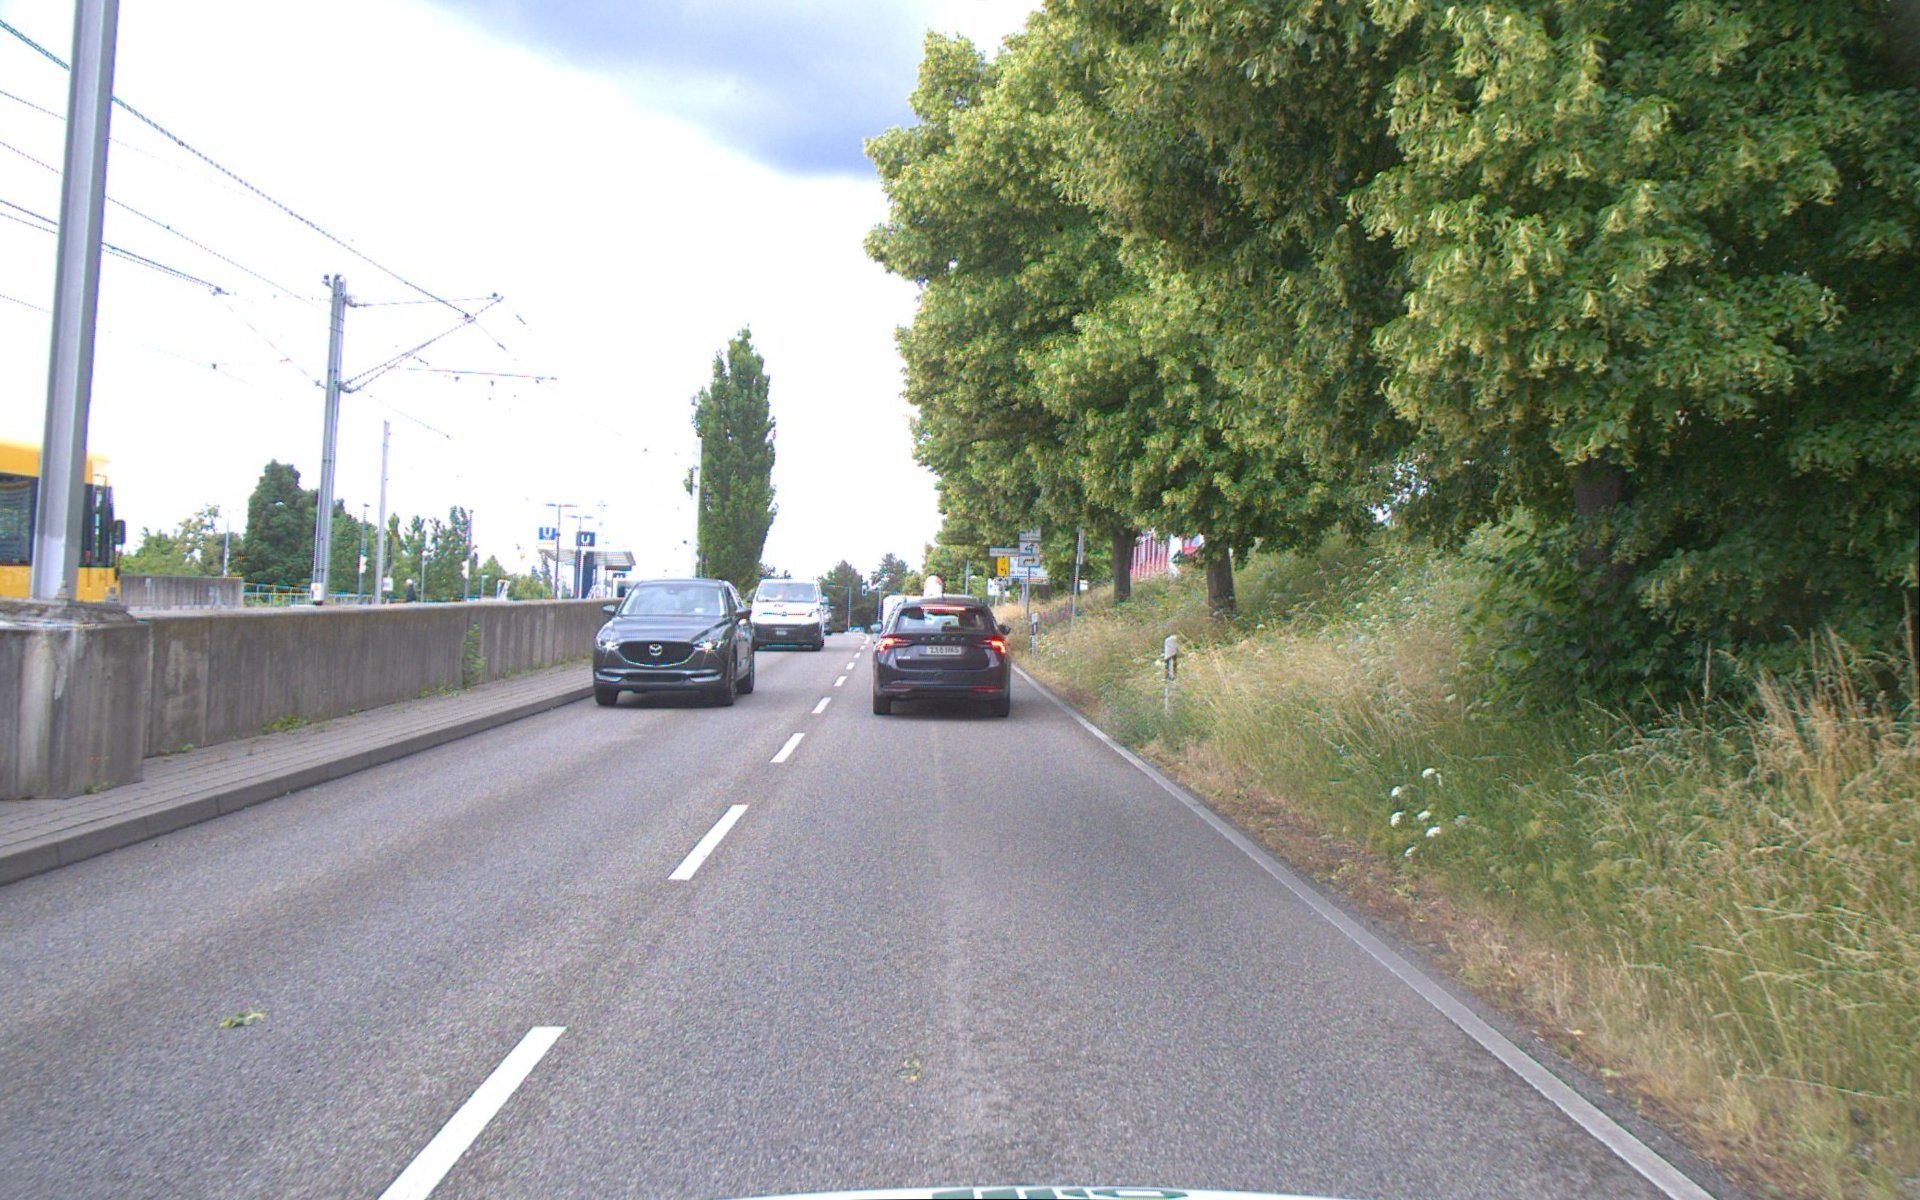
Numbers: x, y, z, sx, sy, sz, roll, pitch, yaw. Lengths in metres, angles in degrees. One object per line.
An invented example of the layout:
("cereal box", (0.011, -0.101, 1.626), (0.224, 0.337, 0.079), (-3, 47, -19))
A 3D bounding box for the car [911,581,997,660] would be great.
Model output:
("car", (-0.169, 0.450, 39.618), (1.953, 1.783, 3.999), (0, 0, -1))

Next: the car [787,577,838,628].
("car", (-6.144, 0.087, 69.159), (1.954, 2.049, 3.998), (0, 0, -3))

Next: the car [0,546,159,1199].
("car", (-3.023, 0.686, 2.716), (1.697, 1.599, 3.997), (0, 0, -4))

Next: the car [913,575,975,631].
("car", (-0.534, 0.107, 54.227), (1.953, 1.771, 3.999), (1, 0, -1))

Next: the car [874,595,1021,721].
("car", (-0.167, 0.684, 21.681), (1.745, 1.493, 3.999), (0, 0, -1))

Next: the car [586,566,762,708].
("car", (-3.889, 0.459, 23.158), (1.872, 1.799, 4.305), (0, 0, -3))

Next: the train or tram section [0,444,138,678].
("train or tram section", (-13.529, -0.554, 16.587), (2.742, 3.075, 18.859), (1, 0, -5))

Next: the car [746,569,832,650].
("car", (-4.527, 0.243, 44.337), (1.953, 2.049, 4.311), (0, 0, -2))
